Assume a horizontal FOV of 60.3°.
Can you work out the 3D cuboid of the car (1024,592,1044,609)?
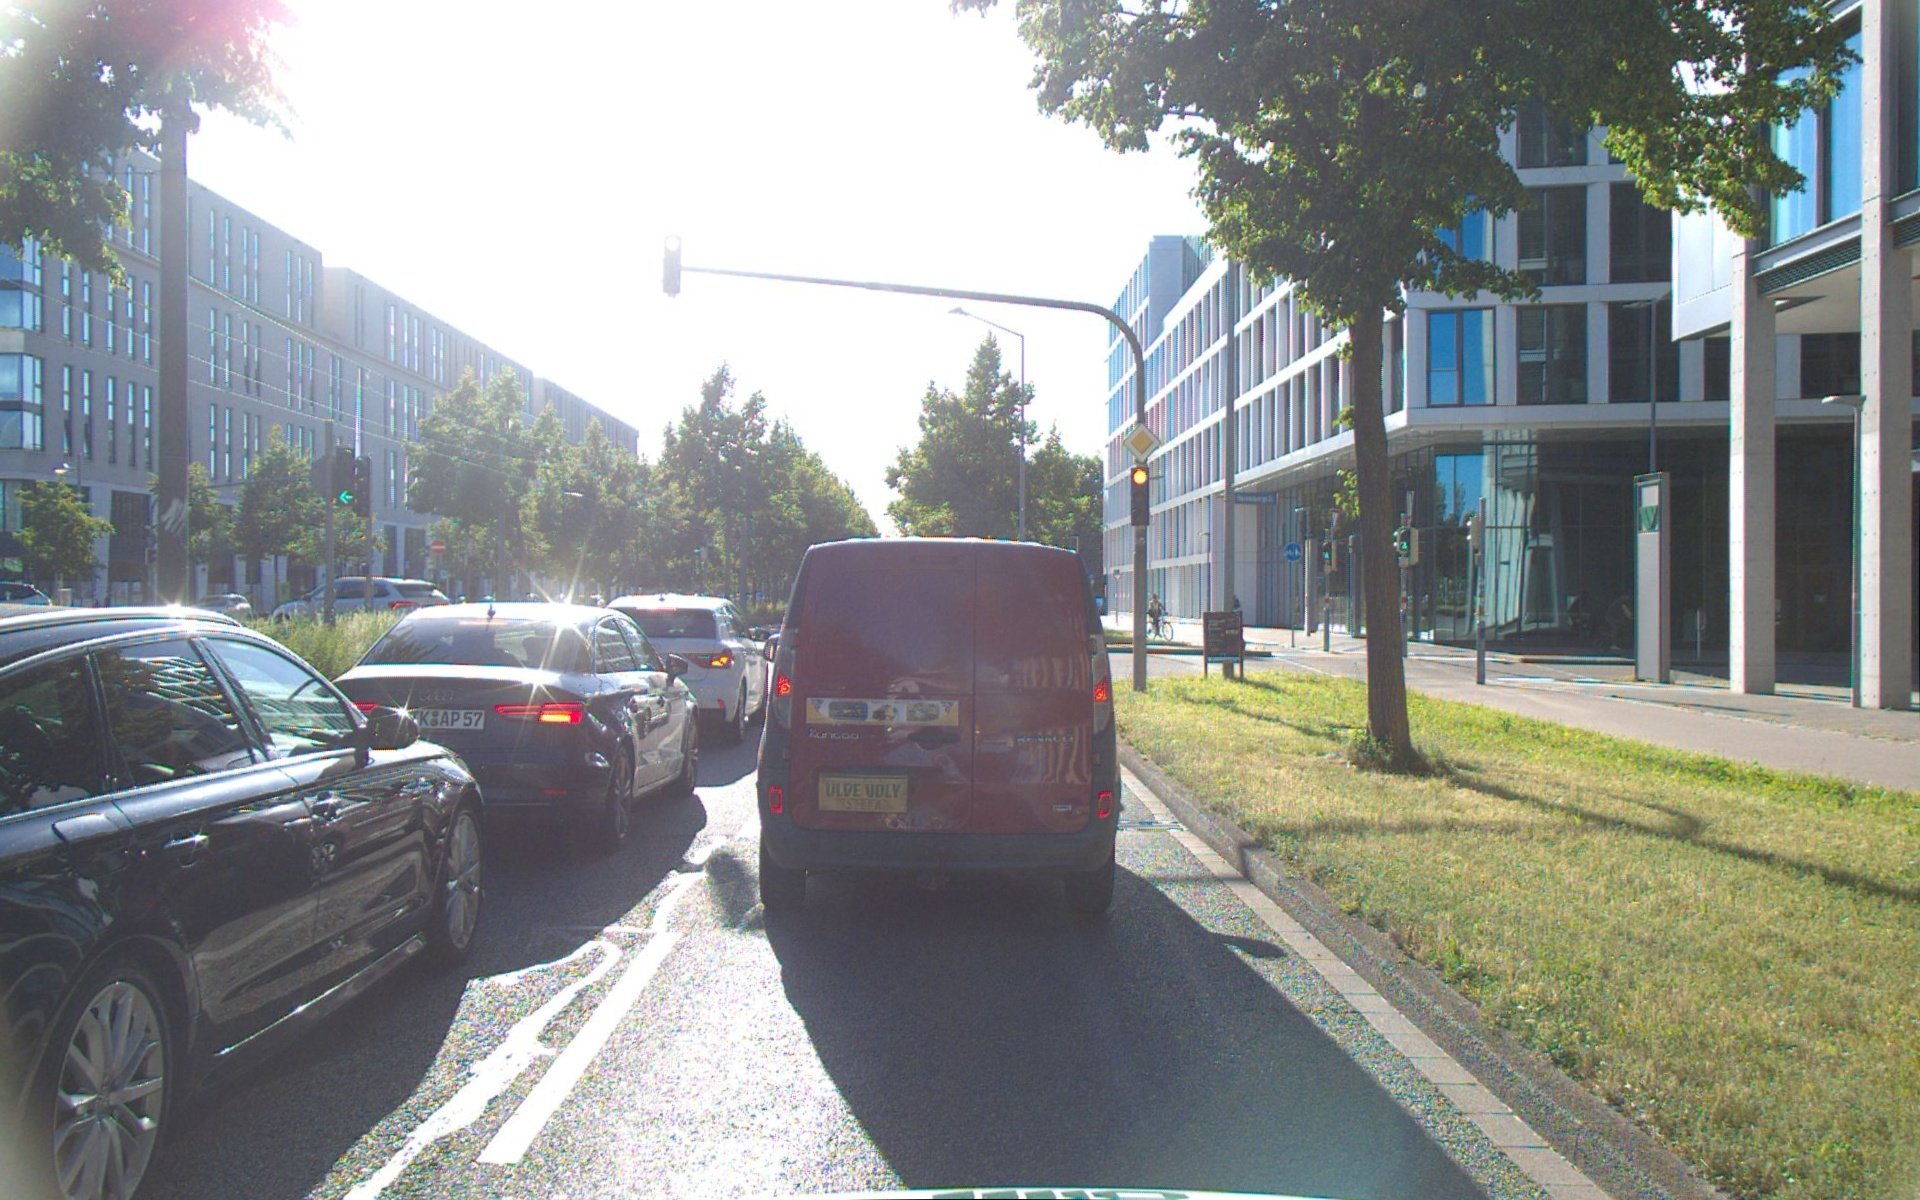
[{"bbox_3d":[8.060,0.071,179.940,1.953,1.813,3.999,0,0,-1],"label":"car"}]

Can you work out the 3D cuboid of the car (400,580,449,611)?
[{"bbox_3d":[-35.286,-0.307,109.111,1.953,2.049,3.999,0,0,-1],"label":"car"}]

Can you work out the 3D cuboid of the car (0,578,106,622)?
[{"bbox_3d":[-33.196,-0.027,60.653,1.729,1.546,3.999,0,0,-1],"label":"car"}]

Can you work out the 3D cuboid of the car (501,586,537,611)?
[{"bbox_3d":[-36.249,-0.137,135.946,1.953,2.049,3.999,0,0,-1],"label":"car"}]

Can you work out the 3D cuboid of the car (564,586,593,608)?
[{"bbox_3d":[-36.389,-0.310,157.874,1.953,2.049,3.999,0,0,-1],"label":"car"}]

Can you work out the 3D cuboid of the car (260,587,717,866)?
[{"bbox_3d":[-2.783,0.653,10.830,1.804,1.451,4.338,0,0,-1],"label":"car"}]

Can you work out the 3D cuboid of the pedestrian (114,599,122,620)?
[{"bbox_3d":[-43.015,0.480,84.516,0.248,1.104,0.289,0,0,-1],"label":"pedestrian"}]

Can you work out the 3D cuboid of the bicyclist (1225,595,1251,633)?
[{"bbox_3d":[9.725,0.481,57.869,0.801,1.297,0.683,0,0,1],"label":"bicyclist"}]

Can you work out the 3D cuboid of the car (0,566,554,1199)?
[{"bbox_3d":[-2.701,0.682,5.077,1.836,1.510,4.965,0,0,-2],"label":"car"}]

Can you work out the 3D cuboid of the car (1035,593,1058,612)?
[{"bbox_3d":[8.416,0.239,160.745,1.953,1.813,3.999,0,0,-1],"label":"car"}]

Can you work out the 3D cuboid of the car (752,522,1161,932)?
[{"bbox_3d":[-0.044,0.555,9.343,1.804,1.812,3.999,0,0,-1],"label":"car"}]

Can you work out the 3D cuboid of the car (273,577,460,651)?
[{"bbox_3d":[-12.823,0.270,35.681,4.123,1.518,1.517,0,0,30],"label":"car"}]

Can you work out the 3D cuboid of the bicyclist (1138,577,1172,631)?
[{"bbox_3d":[7.223,0.161,61.351,0.807,1.981,0.991,0,0,-32],"label":"bicyclist"}]

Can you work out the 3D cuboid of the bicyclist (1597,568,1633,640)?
[{"bbox_3d":[19.611,0.106,49.553,0.920,2.129,0.818,0,0,17],"label":"bicyclist"}]

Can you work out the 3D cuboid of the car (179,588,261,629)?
[{"bbox_3d":[-34.744,0.377,77.773,1.953,1.845,4.369,0,0,-1],"label":"car"}]

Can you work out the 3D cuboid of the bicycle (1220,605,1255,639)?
[{"bbox_3d":[9.711,0.758,57.899,0.801,1.134,2.846,0,0,1],"label":"bicycle"}]

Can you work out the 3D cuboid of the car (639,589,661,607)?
[{"bbox_3d":[-37.223,-0.240,198.661,1.953,2.049,3.999,0,0,-1],"label":"car"}]

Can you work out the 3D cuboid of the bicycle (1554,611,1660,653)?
[{"bbox_3d":[19.383,0.940,49.612,2.880,1.211,0.818,0,0,17],"label":"bicycle"}]

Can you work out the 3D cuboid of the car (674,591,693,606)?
[{"bbox_3d":[-37.176,-0.176,222.302,1.953,2.049,3.999,0,0,-1],"label":"car"}]

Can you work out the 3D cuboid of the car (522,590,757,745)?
[{"bbox_3d":[-3.243,0.624,17.466,1.767,1.451,3.900,0,0,-1],"label":"car"}]

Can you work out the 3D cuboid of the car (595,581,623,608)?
[{"bbox_3d":[-35.607,-0.553,167.817,1.953,2.653,3.999,0,0,-1],"label":"car"}]

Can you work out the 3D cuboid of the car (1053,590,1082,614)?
[{"bbox_3d":[8.324,0.150,128.070,1.953,1.813,3.999,0,0,-1],"label":"car"}]

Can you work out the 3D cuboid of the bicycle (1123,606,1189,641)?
[{"bbox_3d":[7.237,0.855,61.335,0.807,1.211,2.919,0,0,-32],"label":"bicycle"}]

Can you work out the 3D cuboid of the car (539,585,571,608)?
[{"bbox_3d":[-36.371,-0.333,148.774,1.953,2.049,3.999,0,0,-1],"label":"car"}]

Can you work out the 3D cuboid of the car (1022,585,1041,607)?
[{"bbox_3d":[8.572,-0.511,198.467,1.953,2.540,4.986,0,0,-1],"label":"car"}]

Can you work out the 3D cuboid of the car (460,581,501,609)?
[{"bbox_3d":[-35.837,-0.375,123.640,1.953,2.049,3.999,0,0,-1],"label":"car"}]

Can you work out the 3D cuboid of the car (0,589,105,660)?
[{"bbox_3d":[-20.539,0.498,34.547,4.524,1.473,1.779,0,0,-40],"label":"car"}]

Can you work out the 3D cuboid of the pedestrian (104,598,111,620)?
[{"bbox_3d":[-43.504,0.452,84.387,0.248,1.104,0.260,0,0,-1],"label":"pedestrian"}]

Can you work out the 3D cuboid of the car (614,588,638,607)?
[{"bbox_3d":[-36.725,-0.262,181.854,1.953,2.049,3.999,0,0,-1],"label":"car"}]
